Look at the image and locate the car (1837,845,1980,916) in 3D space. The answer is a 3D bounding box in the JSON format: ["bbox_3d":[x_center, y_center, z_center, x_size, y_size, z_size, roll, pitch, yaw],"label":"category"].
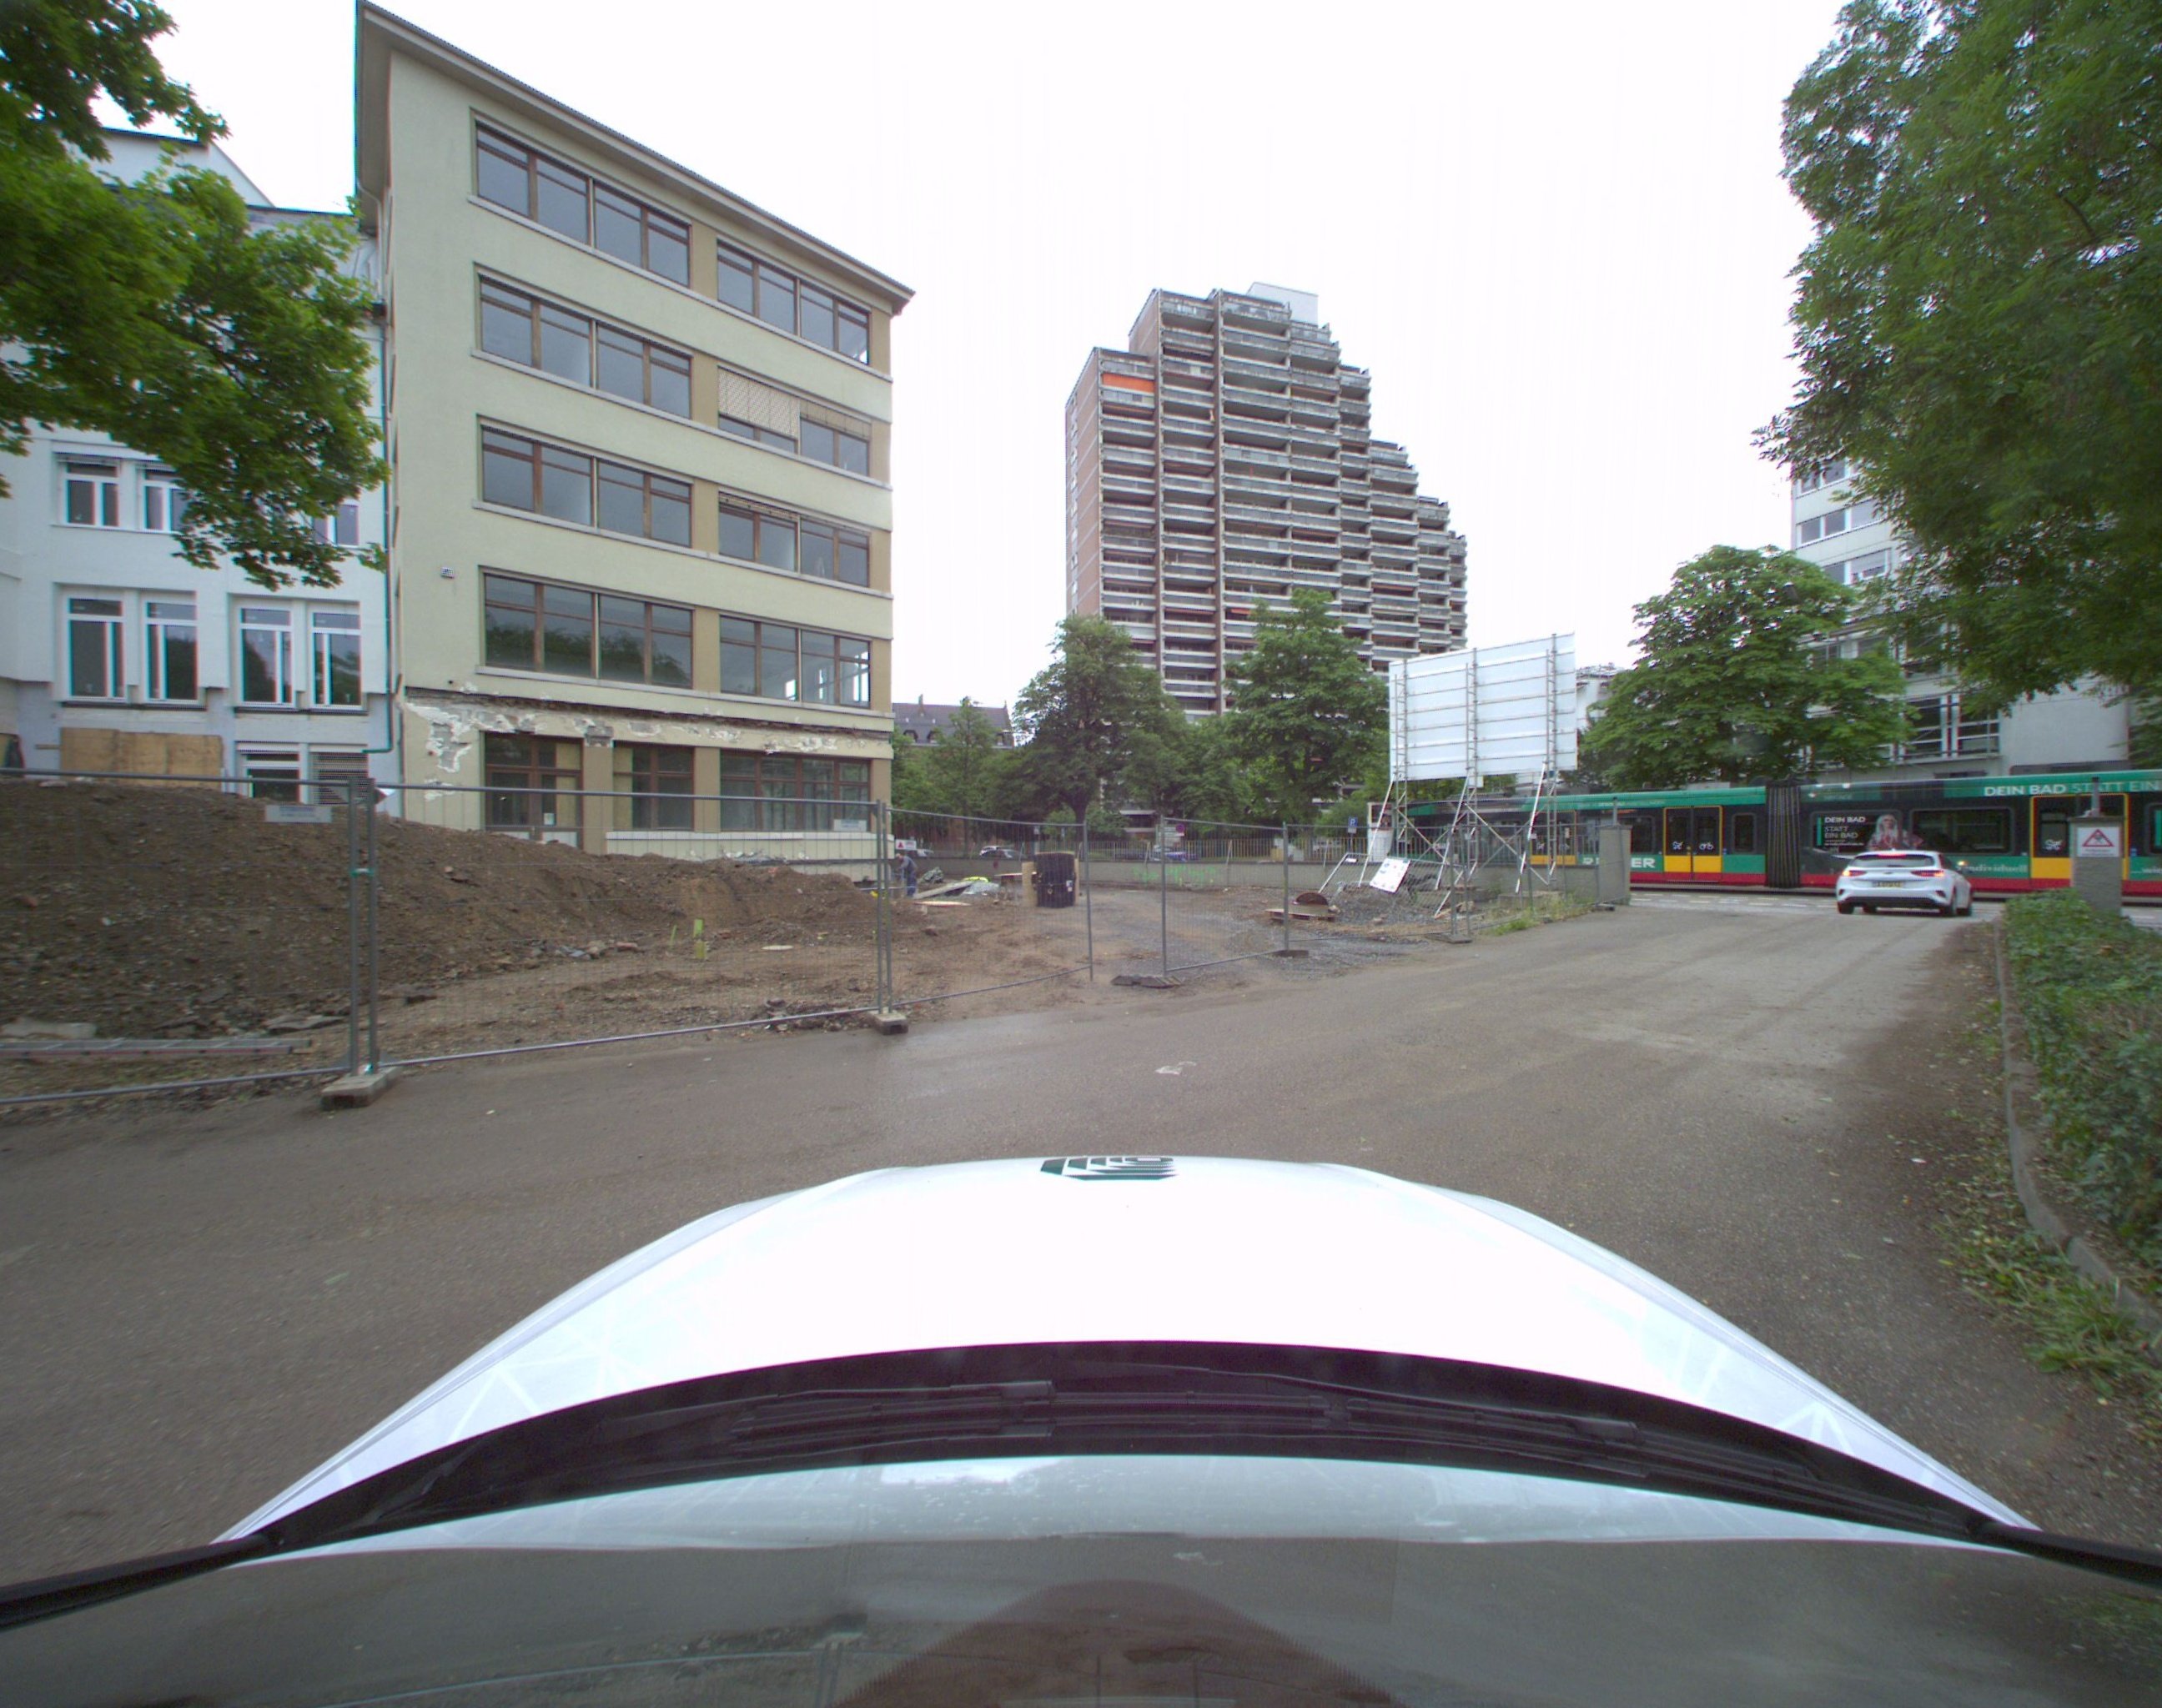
[{"bbox_3d":[18.761,0.609,18.428,3.996,1.433,1.761,2,-2,-37],"label":"car"}]

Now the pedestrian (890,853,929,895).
[{"bbox_3d":[-6.010,0.697,28.485,0.919,1.437,0.989,-1,0,44],"label":"pedestrian"}]

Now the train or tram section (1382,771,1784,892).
[{"bbox_3d":[17.522,-0.671,29.906,2.683,3.614,12.308,-1,0,-42],"label":"train or tram section"}]

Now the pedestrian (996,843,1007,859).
[{"bbox_3d":[-7.600,-0.276,77.885,0.515,1.527,0.849,0,0,36],"label":"pedestrian"}]

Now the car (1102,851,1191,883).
[{"bbox_3d":[2.993,0.569,38.006,1.843,1.418,3.952,-1,0,-42],"label":"car"}]

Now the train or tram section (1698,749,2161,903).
[{"bbox_3d":[24.563,-0.667,21.995,2.683,3.614,12.308,-1,0,-42],"label":"train or tram section"}]

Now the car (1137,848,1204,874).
[{"bbox_3d":[5.364,0.405,49.361,1.611,1.519,3.952,-1,0,-42],"label":"car"}]
